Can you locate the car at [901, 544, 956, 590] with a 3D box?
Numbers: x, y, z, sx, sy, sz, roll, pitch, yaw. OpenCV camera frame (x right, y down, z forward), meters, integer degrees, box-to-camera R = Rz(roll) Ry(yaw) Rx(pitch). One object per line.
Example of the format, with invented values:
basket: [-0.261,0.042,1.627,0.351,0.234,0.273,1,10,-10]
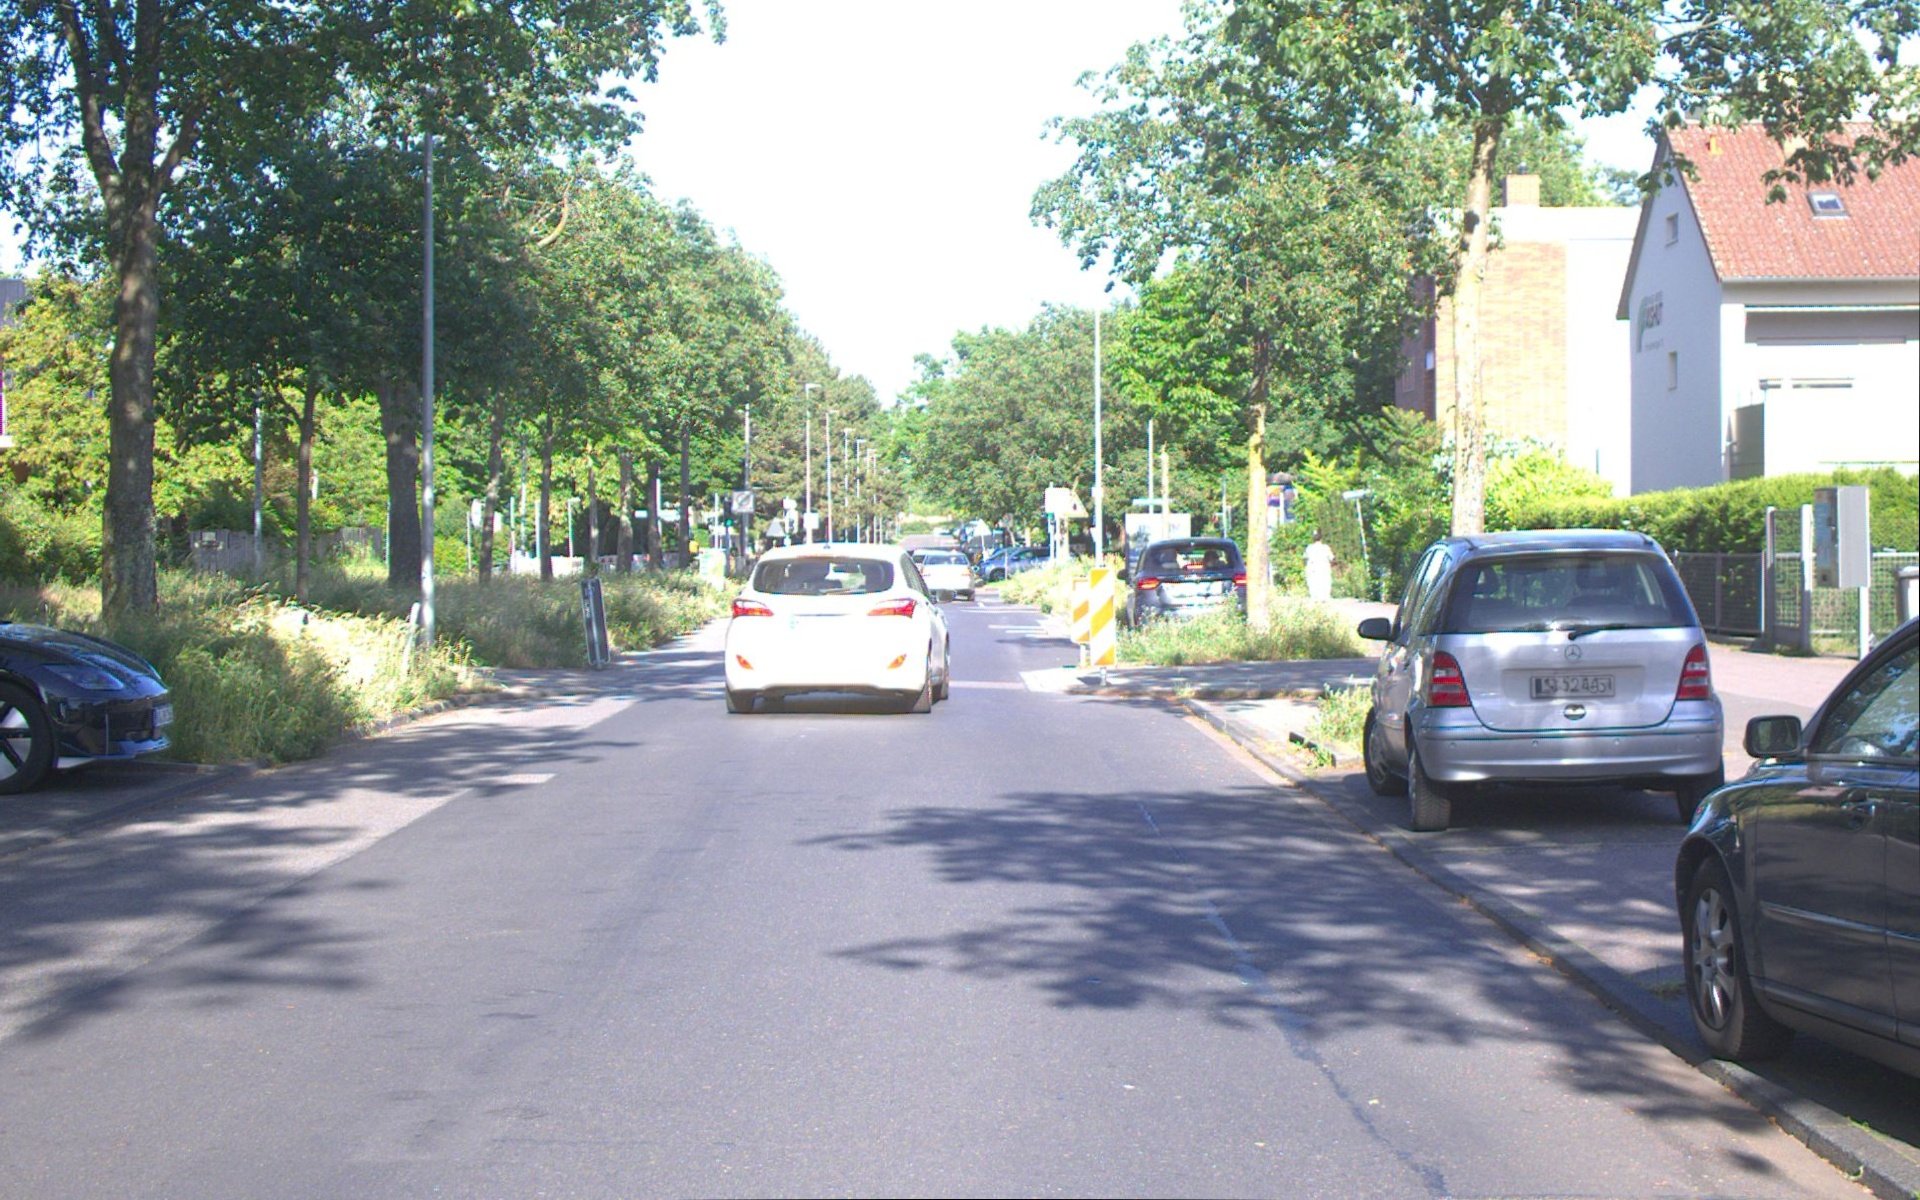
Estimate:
car: [-1.094,-1.149,120.536,1.816,1.503,3.658,3,1,0]

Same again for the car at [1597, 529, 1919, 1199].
car: [3.262,0.679,8.694,1.993,1.616,4.383,3,1,-6]

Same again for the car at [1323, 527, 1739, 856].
car: [3.182,0.449,19.942,1.610,1.616,4.382,3,1,0]

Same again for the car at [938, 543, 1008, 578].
car: [0.736,-2.282,197.242,3.986,2.007,2.000,0,1,-1]

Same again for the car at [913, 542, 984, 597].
car: [-0.356,-0.899,101.905,1.993,1.503,3.658,3,1,0]

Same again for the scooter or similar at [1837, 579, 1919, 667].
scooter or similar: [9.432,0.223,34.970,0.368,0.855,1.412,0,1,-14]

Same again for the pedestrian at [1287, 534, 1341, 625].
pedestrian: [7.896,-0.456,76.759,1.112,2.007,0.922,0,1,0]

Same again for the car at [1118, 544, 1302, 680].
car: [3.347,0.150,46.815,1.993,1.722,4.000,-2,0,-3]

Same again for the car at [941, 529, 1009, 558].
car: [0.890,-3.409,207.508,3.986,1.744,2.000,0,1,-2]

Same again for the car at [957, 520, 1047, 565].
car: [1.885,-2.592,155.208,3.986,2.007,2.000,1,0,-1]

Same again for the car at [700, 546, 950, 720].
car: [-1.145,0.245,31.172,1.993,1.450,4.225,0,1,2]

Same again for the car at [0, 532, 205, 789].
car: [-7.133,0.312,21.593,4.367,1.526,1.808,1,1,-1]
